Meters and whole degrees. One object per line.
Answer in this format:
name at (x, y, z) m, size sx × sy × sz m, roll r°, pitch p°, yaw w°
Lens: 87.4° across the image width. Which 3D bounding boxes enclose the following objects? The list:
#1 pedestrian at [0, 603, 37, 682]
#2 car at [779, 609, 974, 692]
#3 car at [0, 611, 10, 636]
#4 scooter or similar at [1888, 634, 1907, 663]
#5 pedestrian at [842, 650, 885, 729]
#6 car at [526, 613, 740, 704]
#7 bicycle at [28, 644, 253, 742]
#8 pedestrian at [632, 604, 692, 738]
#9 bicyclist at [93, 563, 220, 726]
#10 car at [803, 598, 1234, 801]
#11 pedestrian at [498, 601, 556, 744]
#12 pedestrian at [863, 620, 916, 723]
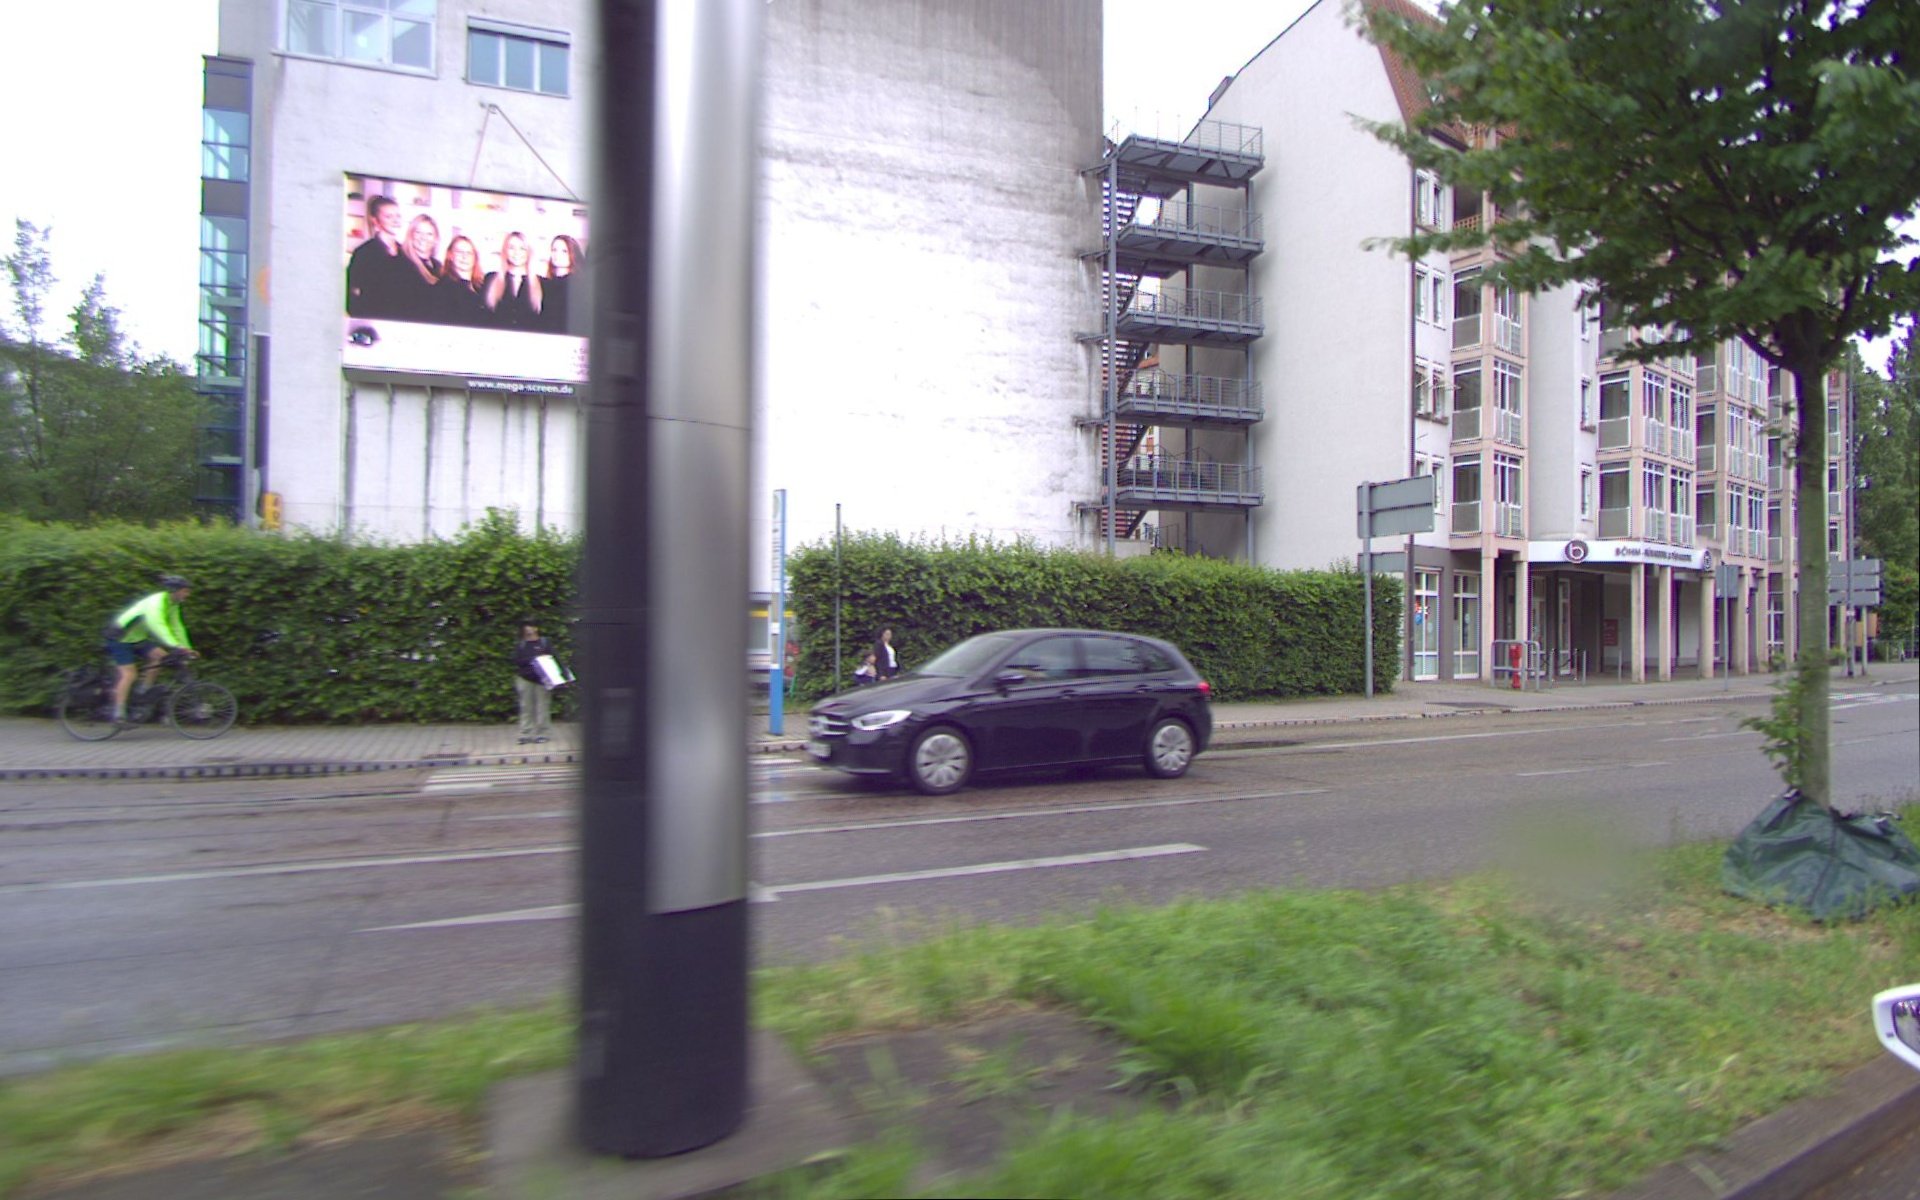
pedestrian at (-22.053, 0.978, 23.228) m, size 0.778 × 1.804 × 0.653 m, roll 0°, pitch -3°, yaw 10°
car at (-1.658, 0.994, 20.084) m, size 3.557 × 1.530 × 1.588 m, roll 2°, pitch -2°, yaw -30°
car at (-71.906, 1.716, 73.218) m, size 1.882 × 1.773 × 3.805 m, roll 4°, pitch 1°, yaw -7°
scooter or similar at (46.085, 2.378, 49.353) m, size 1.559 × 1.331 × 0.478 m, roll -1°, pitch 0°, yaw -40°
pedestrian at (-1.465, 1.349, 15.298) m, size 0.496 × 1.165 × 0.466 m, roll 1°, pitch -1°, yaw -32°
car at (-6.462, 1.110, 19.984) m, size 3.794 × 1.646 × 1.586 m, roll 1°, pitch -2°, yaw -32°
bicycle at (-9.990, 1.120, 12.319) m, size 2.023 × 1.125 × 0.651 m, roll 1°, pitch -1°, yaw -14°
pedestrian at (-4.113, 0.974, 13.855) m, size 0.585 × 1.787 × 0.639 m, roll 4°, pitch -3°, yaw -27°
bicyclist at (-9.853, 0.541, 12.356) m, size 0.938 × 1.915 × 0.792 m, roll 1°, pitch -1°, yaw -15°
car at (0.650, 0.964, 10.550) m, size 4.205 × 1.758 × 1.821 m, roll 2°, pitch -3°, yaw -28°
pedestrian at (-5.592, 0.921, 12.958) m, size 0.622 × 1.787 × 0.525 m, roll 1°, pitch -2°, yaw -27°
pedestrian at (-1.114, 1.104, 15.813) m, size 0.559 × 1.580 × 0.710 m, roll 1°, pitch -1°, yaw -32°
